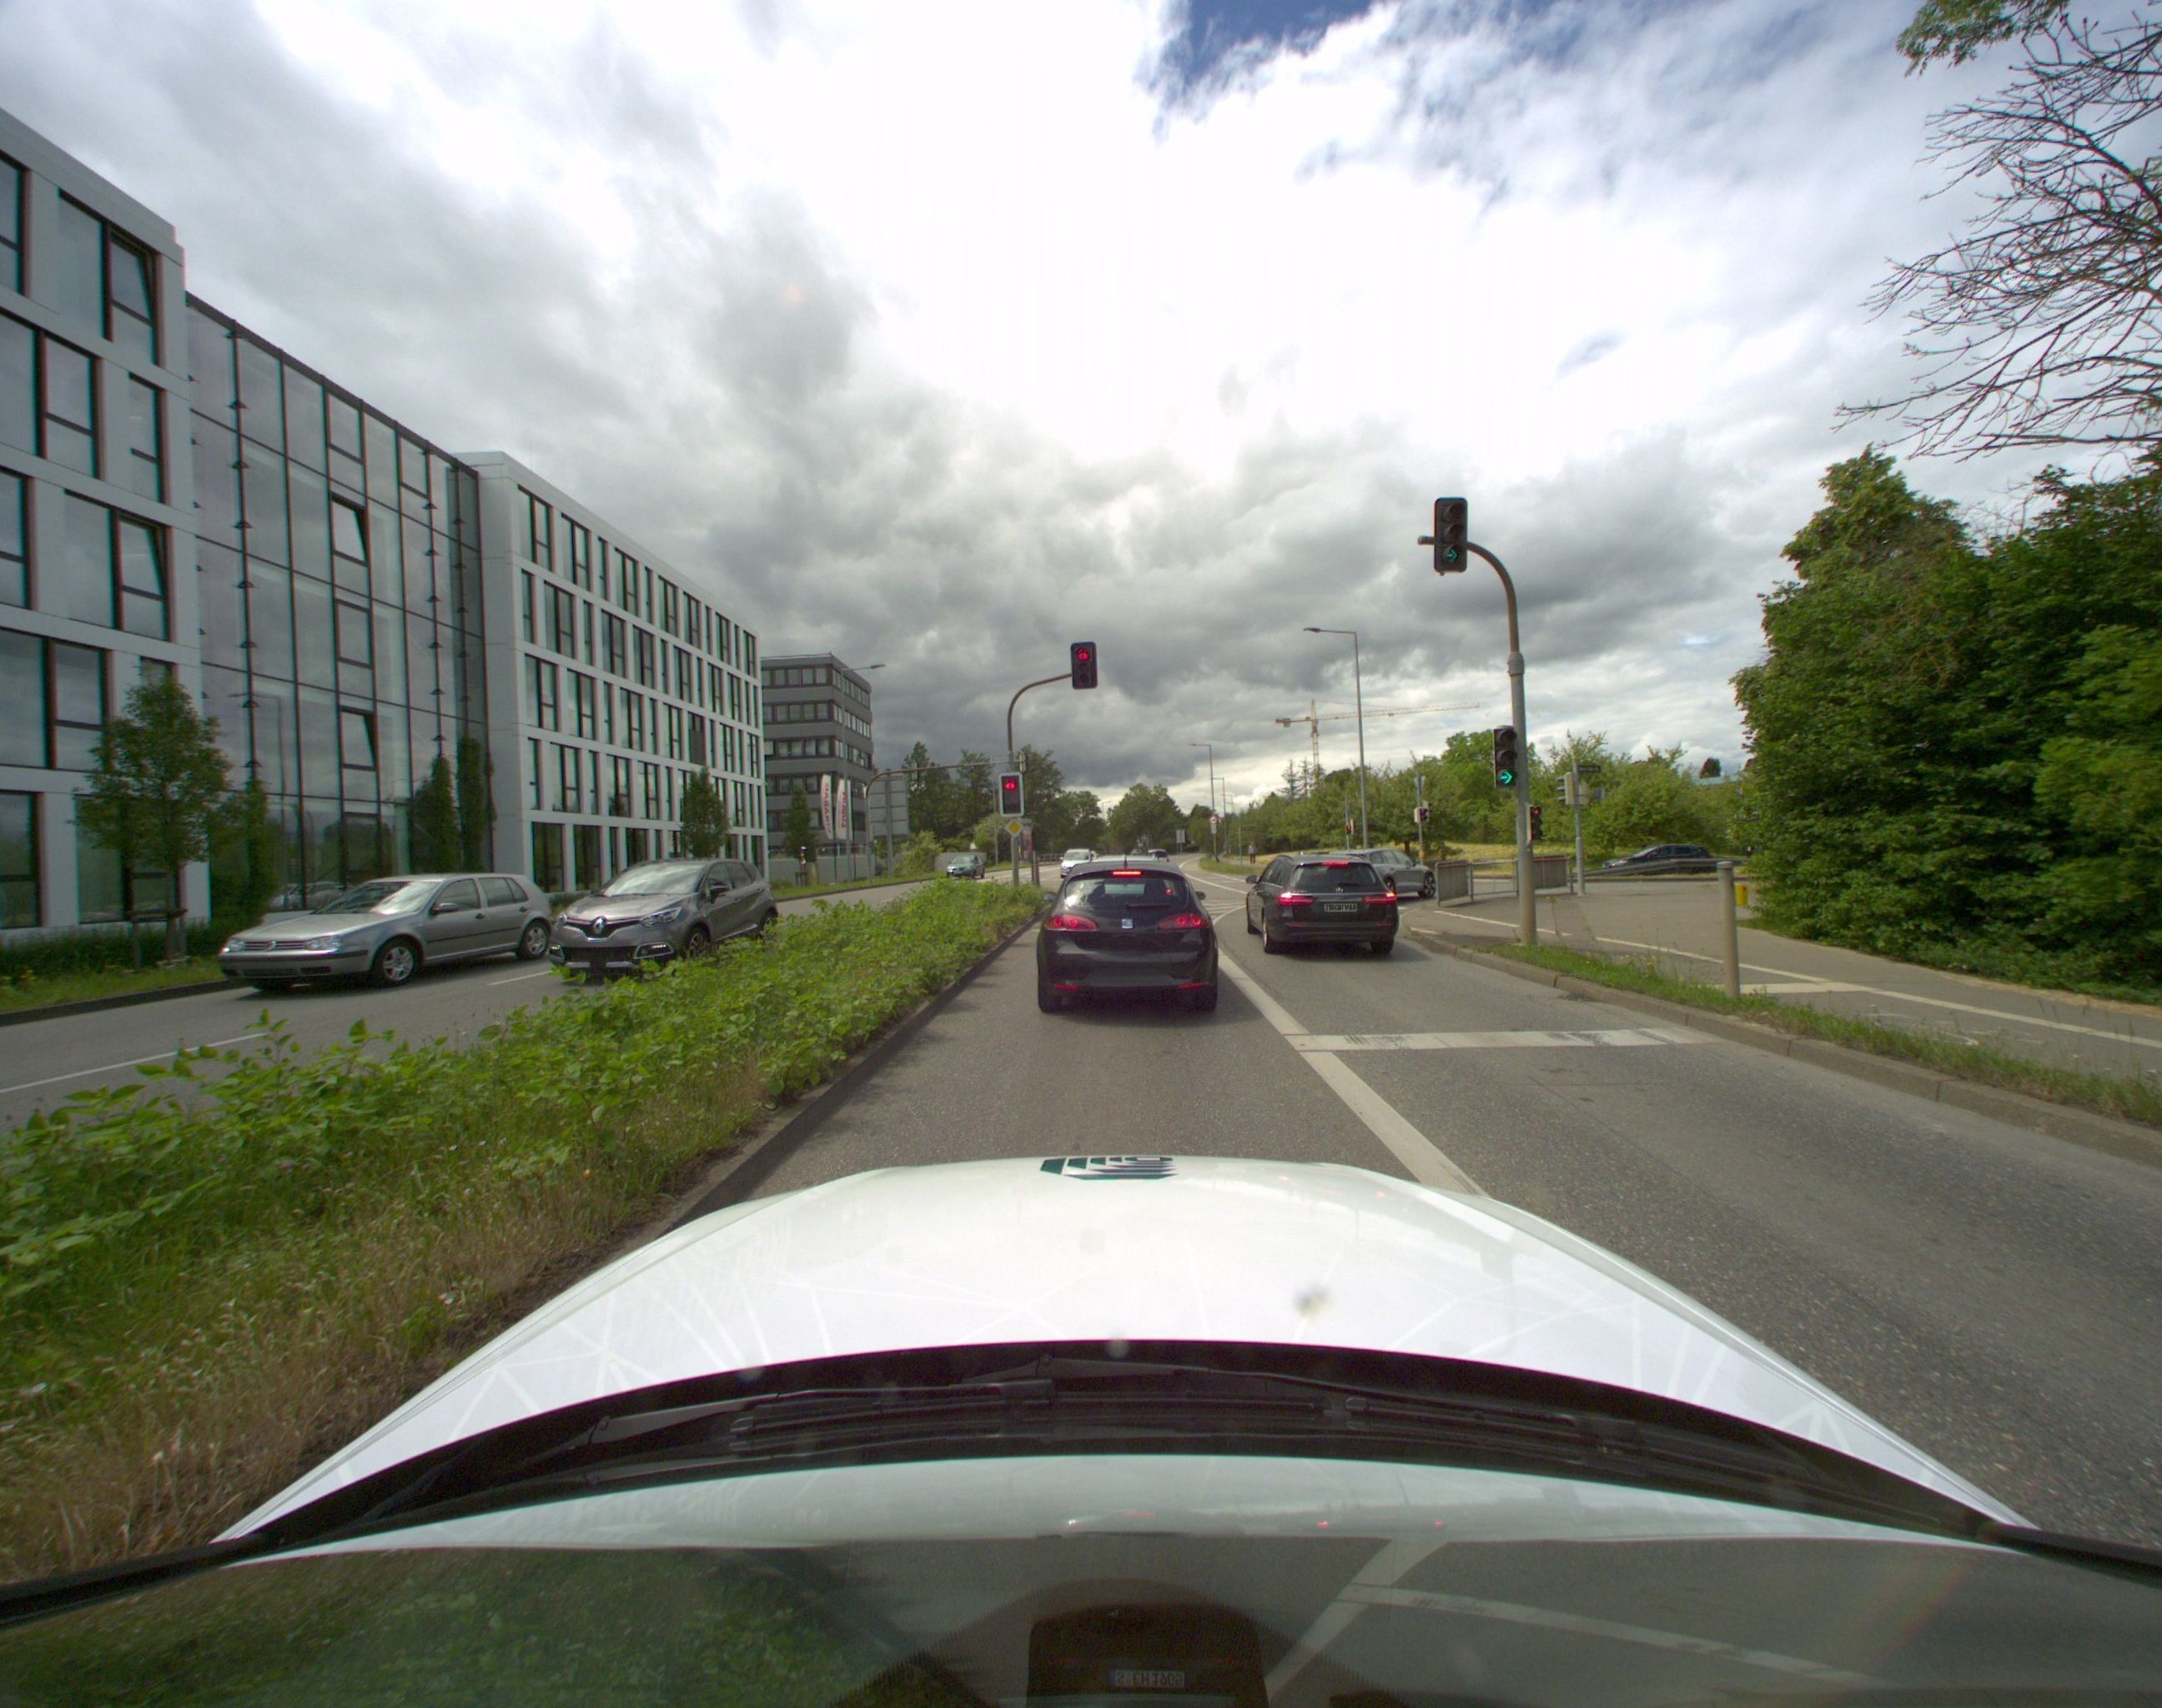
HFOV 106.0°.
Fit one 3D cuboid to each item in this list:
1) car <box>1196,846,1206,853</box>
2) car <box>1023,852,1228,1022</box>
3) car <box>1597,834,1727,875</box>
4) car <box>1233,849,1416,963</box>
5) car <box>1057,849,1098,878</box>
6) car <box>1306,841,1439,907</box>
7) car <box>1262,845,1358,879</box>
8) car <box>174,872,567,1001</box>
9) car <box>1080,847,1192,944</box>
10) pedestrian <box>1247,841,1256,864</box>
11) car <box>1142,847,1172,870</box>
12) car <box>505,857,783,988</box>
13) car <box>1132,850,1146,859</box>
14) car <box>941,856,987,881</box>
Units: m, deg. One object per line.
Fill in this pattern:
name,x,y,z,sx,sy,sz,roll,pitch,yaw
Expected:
car,27.071,-1.010,183.488,1.981,1.352,4.011,-1,0,10
car,0.451,0.721,8.909,1.766,1.451,3.584,-1,0,2
car,25.747,0.015,36.218,4.282,1.615,2.003,-2,0,6
car,3.738,0.687,13.486,1.863,1.440,5.208,-3,0,5
car,-0.174,0.538,48.285,1.984,1.596,4.006,-2,0,5
car,8.122,0.498,22.449,1.845,1.518,4.474,-3,0,42
car,11.448,0.389,40.937,4.286,1.525,2.001,-2,0,2
car,-9.669,1.017,11.630,1.986,1.354,4.002,-2,0,2
car,0.895,0.672,15.081,1.768,1.491,3.581,-3,0,0
pedestrian,13.297,-0.106,63.414,0.556,1.726,0.588,-1,0,3
car,5.362,0.304,57.865,1.985,1.530,4.004,-2,0,3
car,-6.098,0.846,12.014,1.929,1.517,3.998,-2,0,-1
car,10.053,0.071,141.530,1.981,1.352,4.011,-1,0,10
car,-6.932,0.837,48.510,1.986,1.352,4.002,-1,0,2
